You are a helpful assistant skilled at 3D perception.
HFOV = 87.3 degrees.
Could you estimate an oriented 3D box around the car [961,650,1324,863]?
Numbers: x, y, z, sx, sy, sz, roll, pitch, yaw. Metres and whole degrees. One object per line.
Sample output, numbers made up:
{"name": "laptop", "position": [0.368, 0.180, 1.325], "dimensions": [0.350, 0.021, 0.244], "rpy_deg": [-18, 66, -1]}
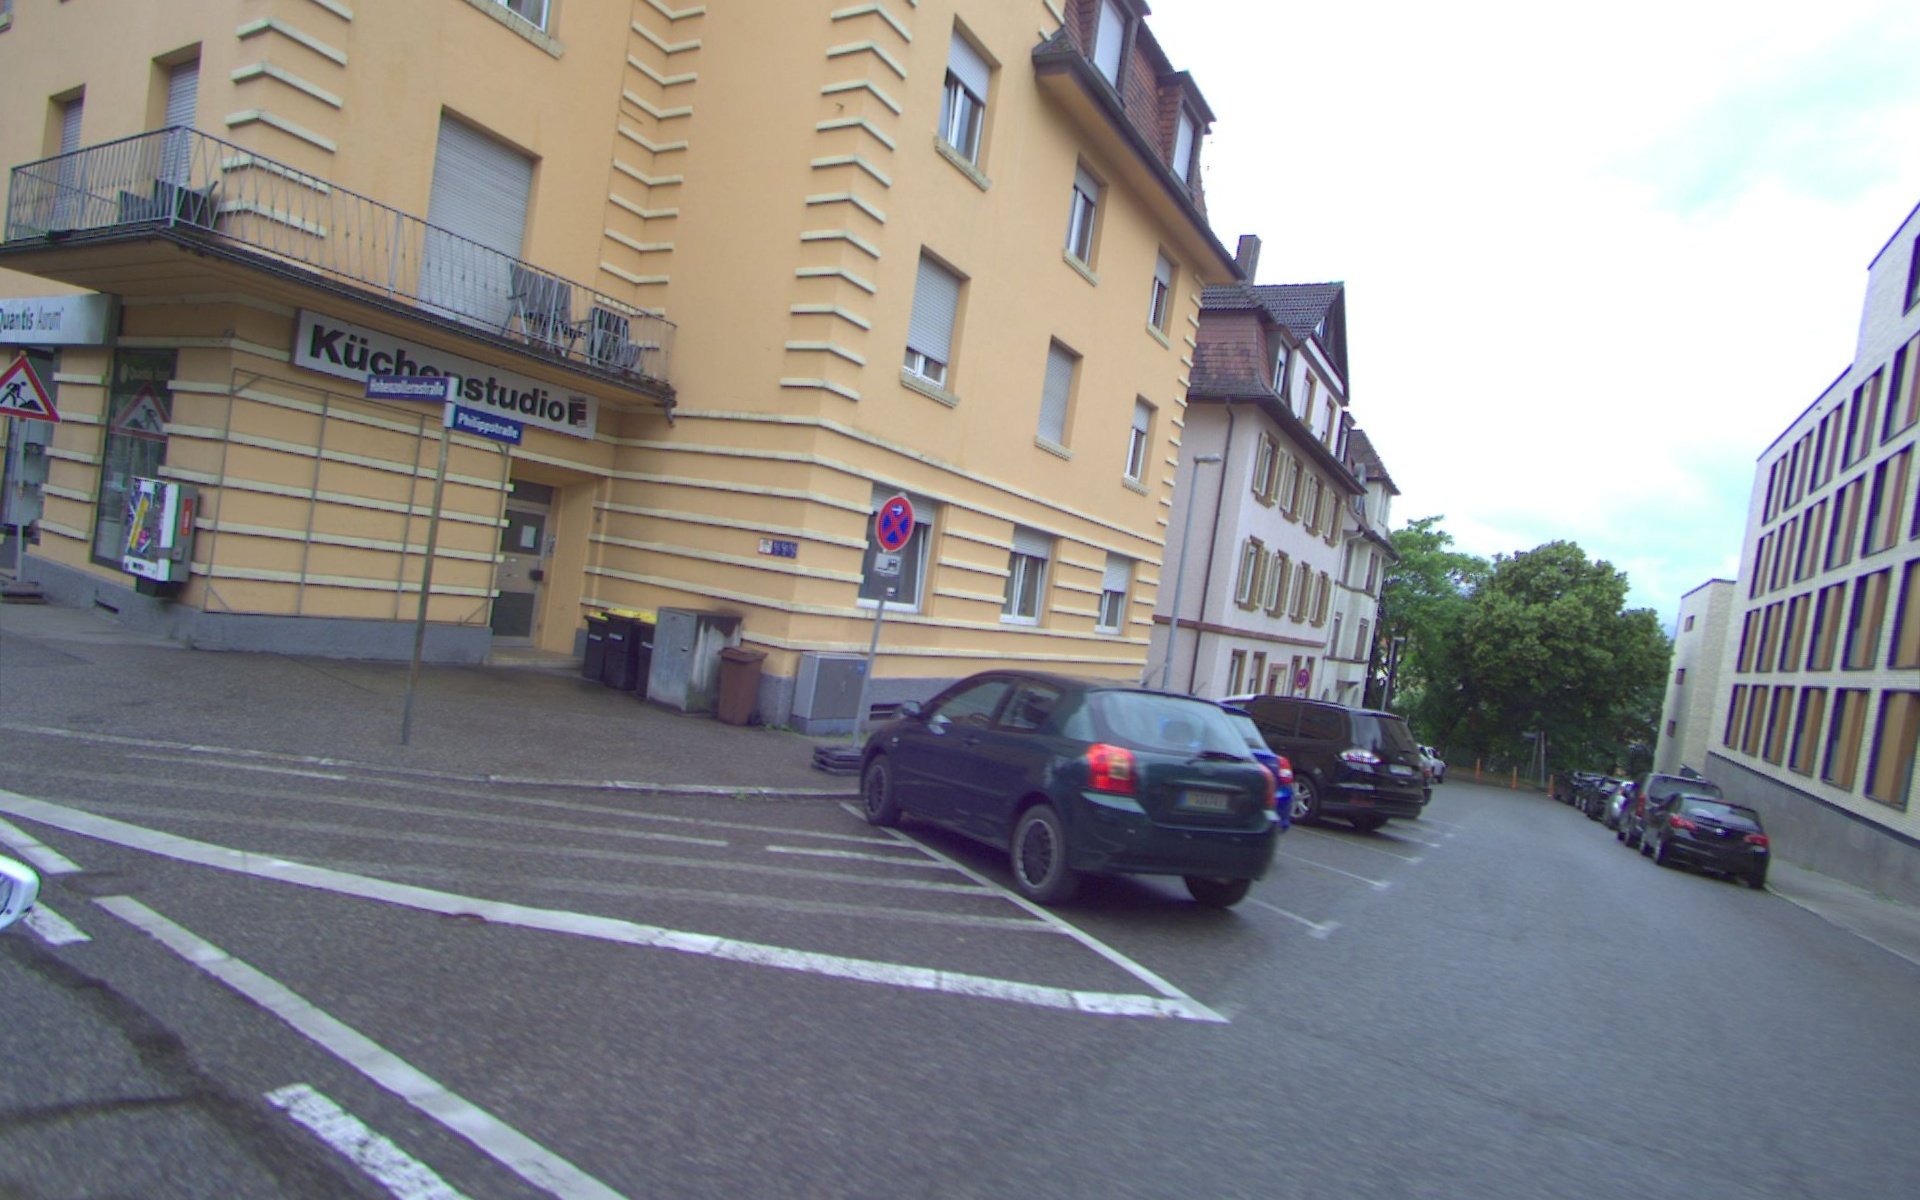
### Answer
{"name": "car", "position": [1.752, 1.554, 10.737], "dimensions": [1.692, 1.509, 3.607], "rpy_deg": [9, -2, -31]}

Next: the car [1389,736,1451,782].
{"name": "car", "position": [21.032, 7.289, 45.944], "dimensions": [1.663, 1.654, 3.806], "rpy_deg": [10, -3, 36]}

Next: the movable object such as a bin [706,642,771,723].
{"name": "movable object such as a bin", "position": [-2.829, 1.051, 12.862], "dimensions": [0.504, 0.942, 0.505], "rpy_deg": [10, 3, 32]}

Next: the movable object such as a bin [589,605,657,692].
{"name": "movable object such as a bin", "position": [-4.643, 0.671, 13.857], "dimensions": [0.504, 1.069, 0.506], "rpy_deg": [12, 1, 32]}

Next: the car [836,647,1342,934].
{"name": "car", "position": [0.670, 1.286, 7.897], "dimensions": [1.834, 1.484, 4.088], "rpy_deg": [10, -5, -26]}

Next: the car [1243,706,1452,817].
{"name": "car", "position": [7.599, 3.152, 20.060], "dimensions": [1.687, 1.487, 3.590], "rpy_deg": [6, 0, -25]}

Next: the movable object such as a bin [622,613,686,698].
{"name": "movable object such as a bin", "position": [-4.103, 0.744, 13.488], "dimensions": [0.504, 1.055, 0.505], "rpy_deg": [10, 3, 32]}

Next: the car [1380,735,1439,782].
{"name": "car", "position": [18.684, 6.574, 41.736], "dimensions": [1.545, 1.544, 3.825], "rpy_deg": [10, -3, 32]}

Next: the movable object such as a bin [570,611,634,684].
{"name": "movable object such as a bin", "position": [-5.069, 0.679, 14.252], "dimensions": [0.504, 0.929, 0.506], "rpy_deg": [10, -1, 32]}

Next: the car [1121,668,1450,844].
{"name": "car", "position": [4.721, 2.249, 15.303], "dimensions": [1.694, 1.744, 4.498], "rpy_deg": [10, -2, -34]}

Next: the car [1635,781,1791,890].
{"name": "car", "position": [14.668, 4.532, 19.799], "dimensions": [1.747, 1.440, 3.530], "rpy_deg": [10, -3, 29]}

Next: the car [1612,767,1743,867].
{"name": "car", "position": [17.133, 5.102, 24.227], "dimensions": [1.935, 1.726, 4.336], "rpy_deg": [10, -3, 31]}

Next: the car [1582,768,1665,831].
{"name": "car", "position": [23.290, 6.944, 35.441], "dimensions": [1.849, 1.613, 4.080], "rpy_deg": [10, -3, 29]}

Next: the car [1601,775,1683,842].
{"name": "car", "position": [21.207, 6.437, 31.405], "dimensions": [1.710, 1.553, 4.077], "rpy_deg": [10, -3, 32]}

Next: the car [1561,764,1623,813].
{"name": "car", "position": [28.600, 8.504, 45.633], "dimensions": [1.849, 1.664, 4.080], "rpy_deg": [10, -3, 29]}
